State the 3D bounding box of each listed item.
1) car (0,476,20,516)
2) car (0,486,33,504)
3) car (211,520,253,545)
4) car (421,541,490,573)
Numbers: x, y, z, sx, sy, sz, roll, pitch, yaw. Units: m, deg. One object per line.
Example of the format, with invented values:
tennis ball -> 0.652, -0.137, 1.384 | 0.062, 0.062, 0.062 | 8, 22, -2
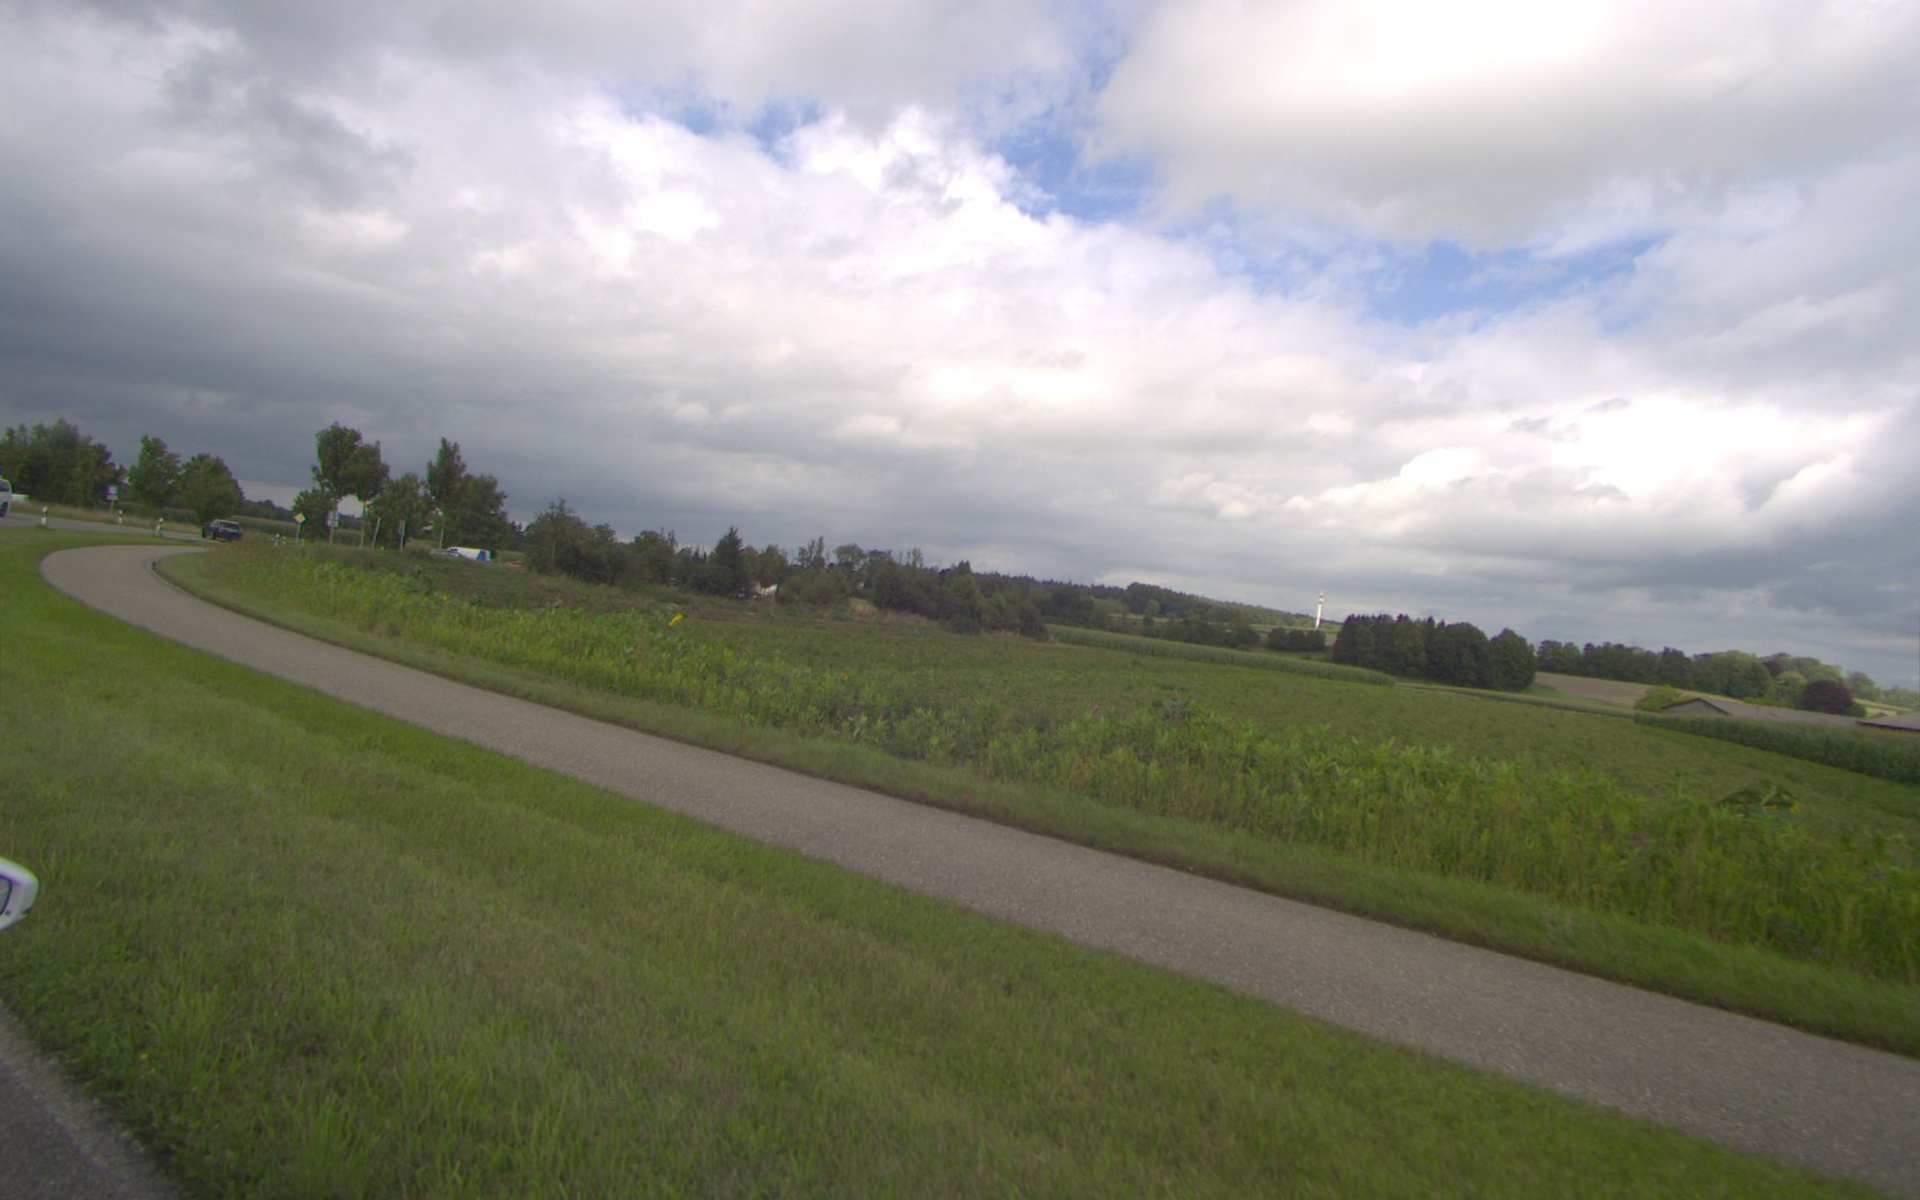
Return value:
car -> -49.321, -5.413, 50.021 | 2.094, 1.891, 5.156 | 8, -1, -25
car -> -98.873, -10.995, 104.128 | 3.964, 1.396, 1.462 | 8, -1, -35
car -> -52.077, -4.819, 71.920 | 1.836, 1.434, 3.951 | 8, -1, -43
car -> -43.690, -3.692, 87.259 | 4.890, 1.998, 1.948 | 8, -1, -18
